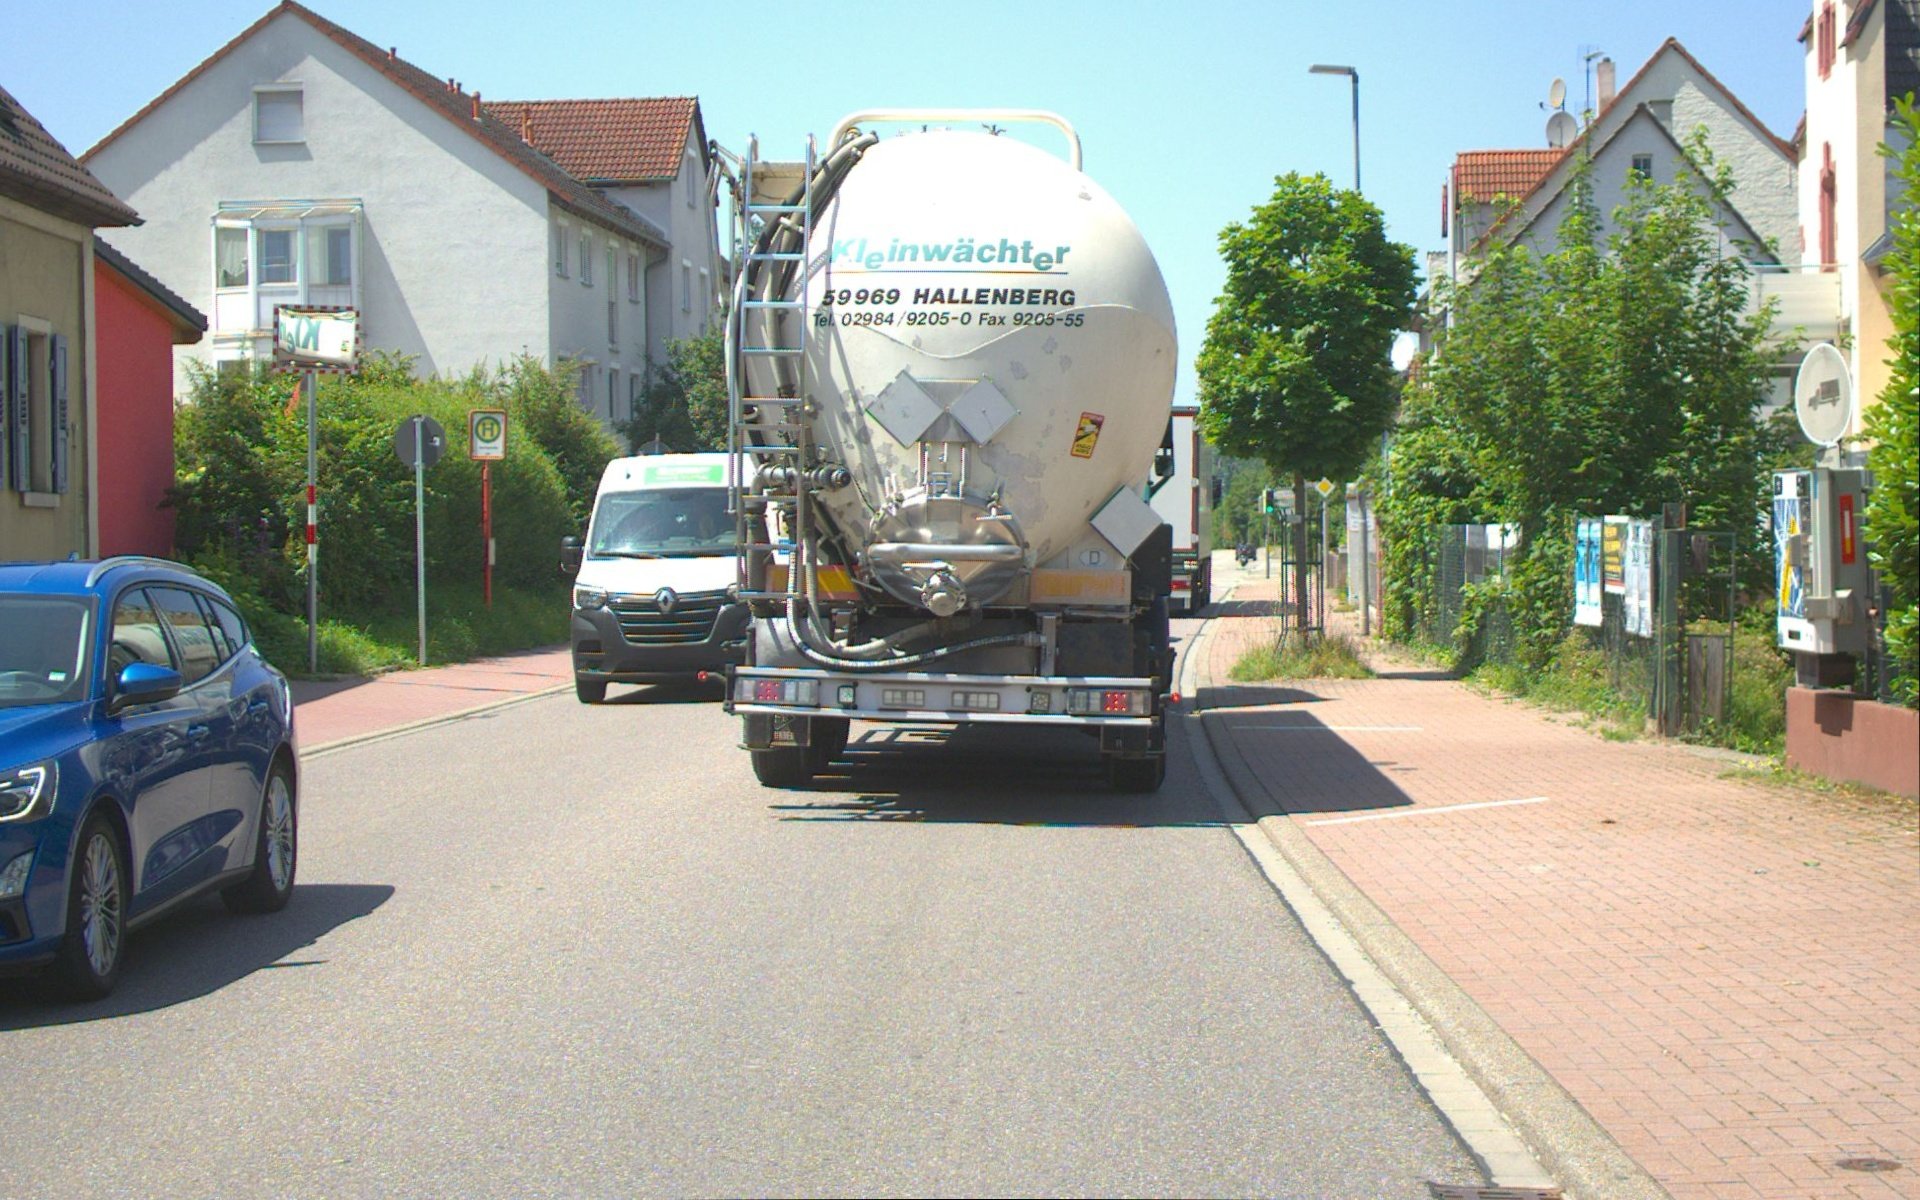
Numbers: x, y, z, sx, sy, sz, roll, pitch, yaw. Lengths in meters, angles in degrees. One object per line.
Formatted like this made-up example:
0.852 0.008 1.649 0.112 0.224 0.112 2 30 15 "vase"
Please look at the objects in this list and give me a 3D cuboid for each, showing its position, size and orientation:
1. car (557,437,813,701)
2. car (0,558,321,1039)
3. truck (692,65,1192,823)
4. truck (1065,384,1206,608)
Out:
-2.716 -0.348 35.388 2.029 2.452 6.068 -1 1 1 "car"
-3.623 0.599 12.739 1.645 1.449 4.401 -1 1 0 "car"
0.059 -0.924 22.986 2.641 4.002 9.561 0 1 2 "truck"
3.714 -2.075 70.749 2.641 4.210 12.092 0 1 4 "truck"
